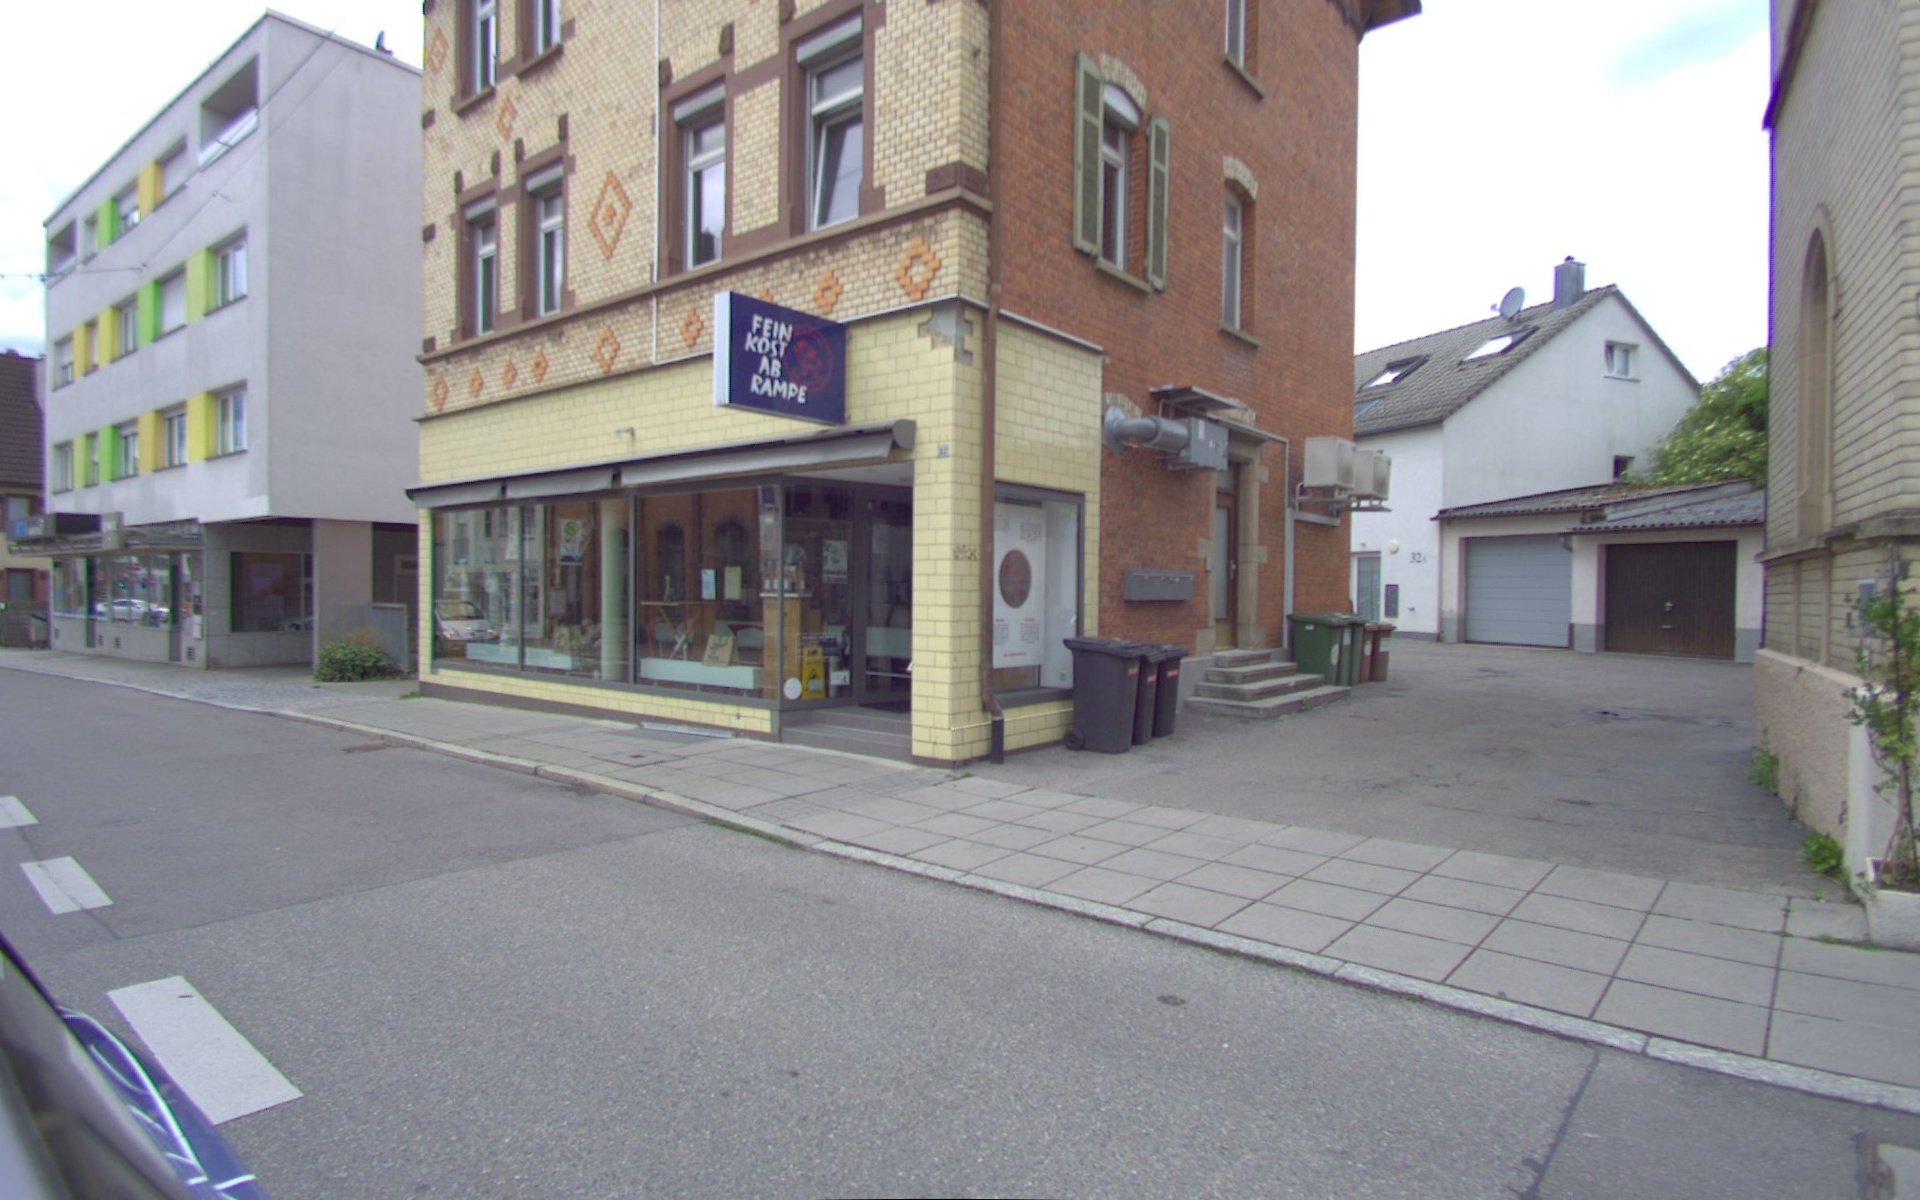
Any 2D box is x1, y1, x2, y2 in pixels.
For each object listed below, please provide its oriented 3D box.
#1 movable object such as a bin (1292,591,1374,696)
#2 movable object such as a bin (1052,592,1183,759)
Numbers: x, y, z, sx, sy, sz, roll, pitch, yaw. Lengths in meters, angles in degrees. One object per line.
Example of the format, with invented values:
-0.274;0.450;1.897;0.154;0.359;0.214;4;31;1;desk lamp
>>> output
5.201;0.581;14.097;0.793;1.389;0.932;-1;0;40;movable object such as a bin
1.480;0.659;9.475;0.823;1.388;0.932;4;5;40;movable object such as a bin
